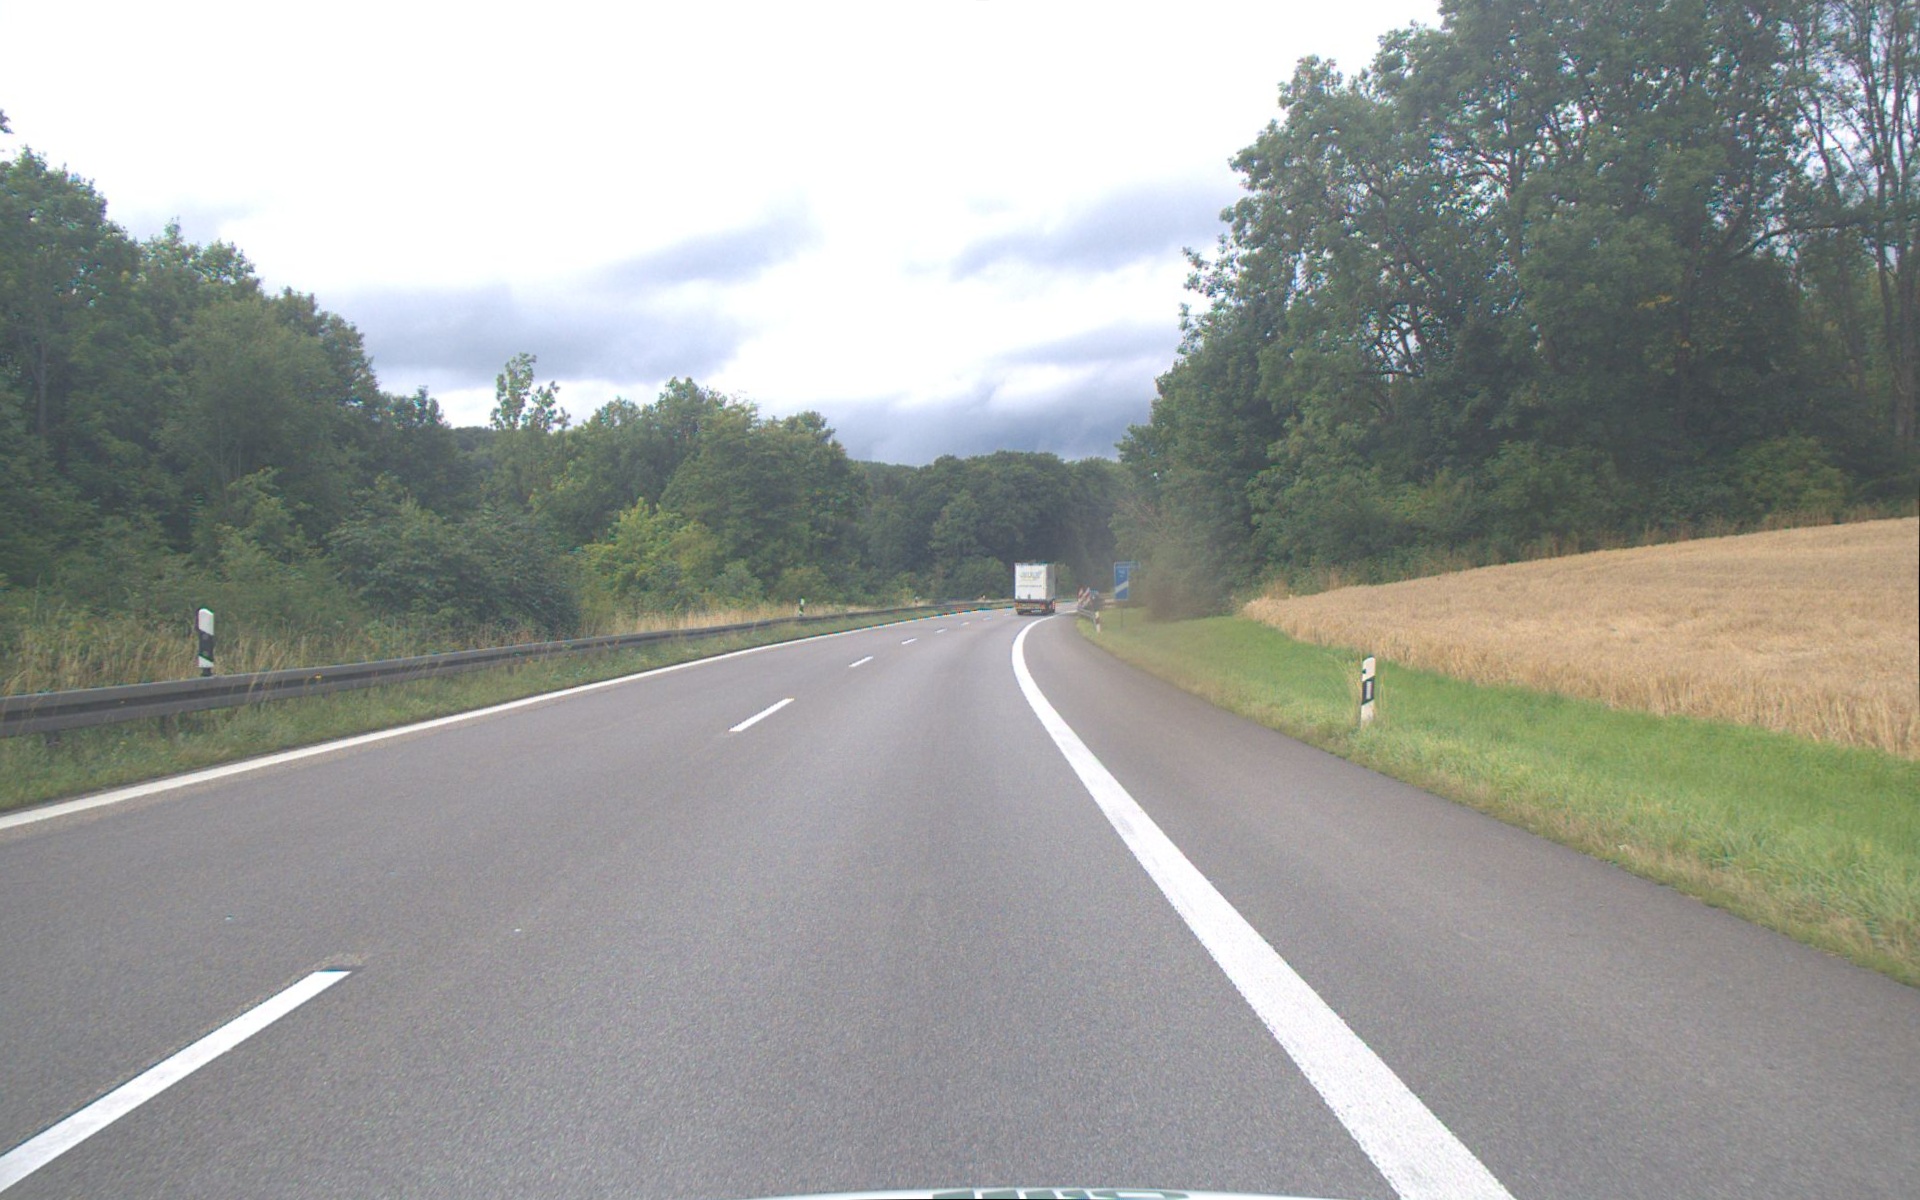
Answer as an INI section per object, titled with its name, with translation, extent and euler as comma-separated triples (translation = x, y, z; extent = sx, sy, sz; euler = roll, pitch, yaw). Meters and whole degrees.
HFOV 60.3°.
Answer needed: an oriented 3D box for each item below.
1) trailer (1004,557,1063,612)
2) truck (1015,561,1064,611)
[trailer]
translation = 6.083, -1.187, 134.202
extent = 3.725, 4.247, 14.818
euler = 0, 0, 6
[truck]
translation = 6.820, -1.140, 140.906
extent = 3.707, 4.204, 8.270
euler = 0, 0, 6
